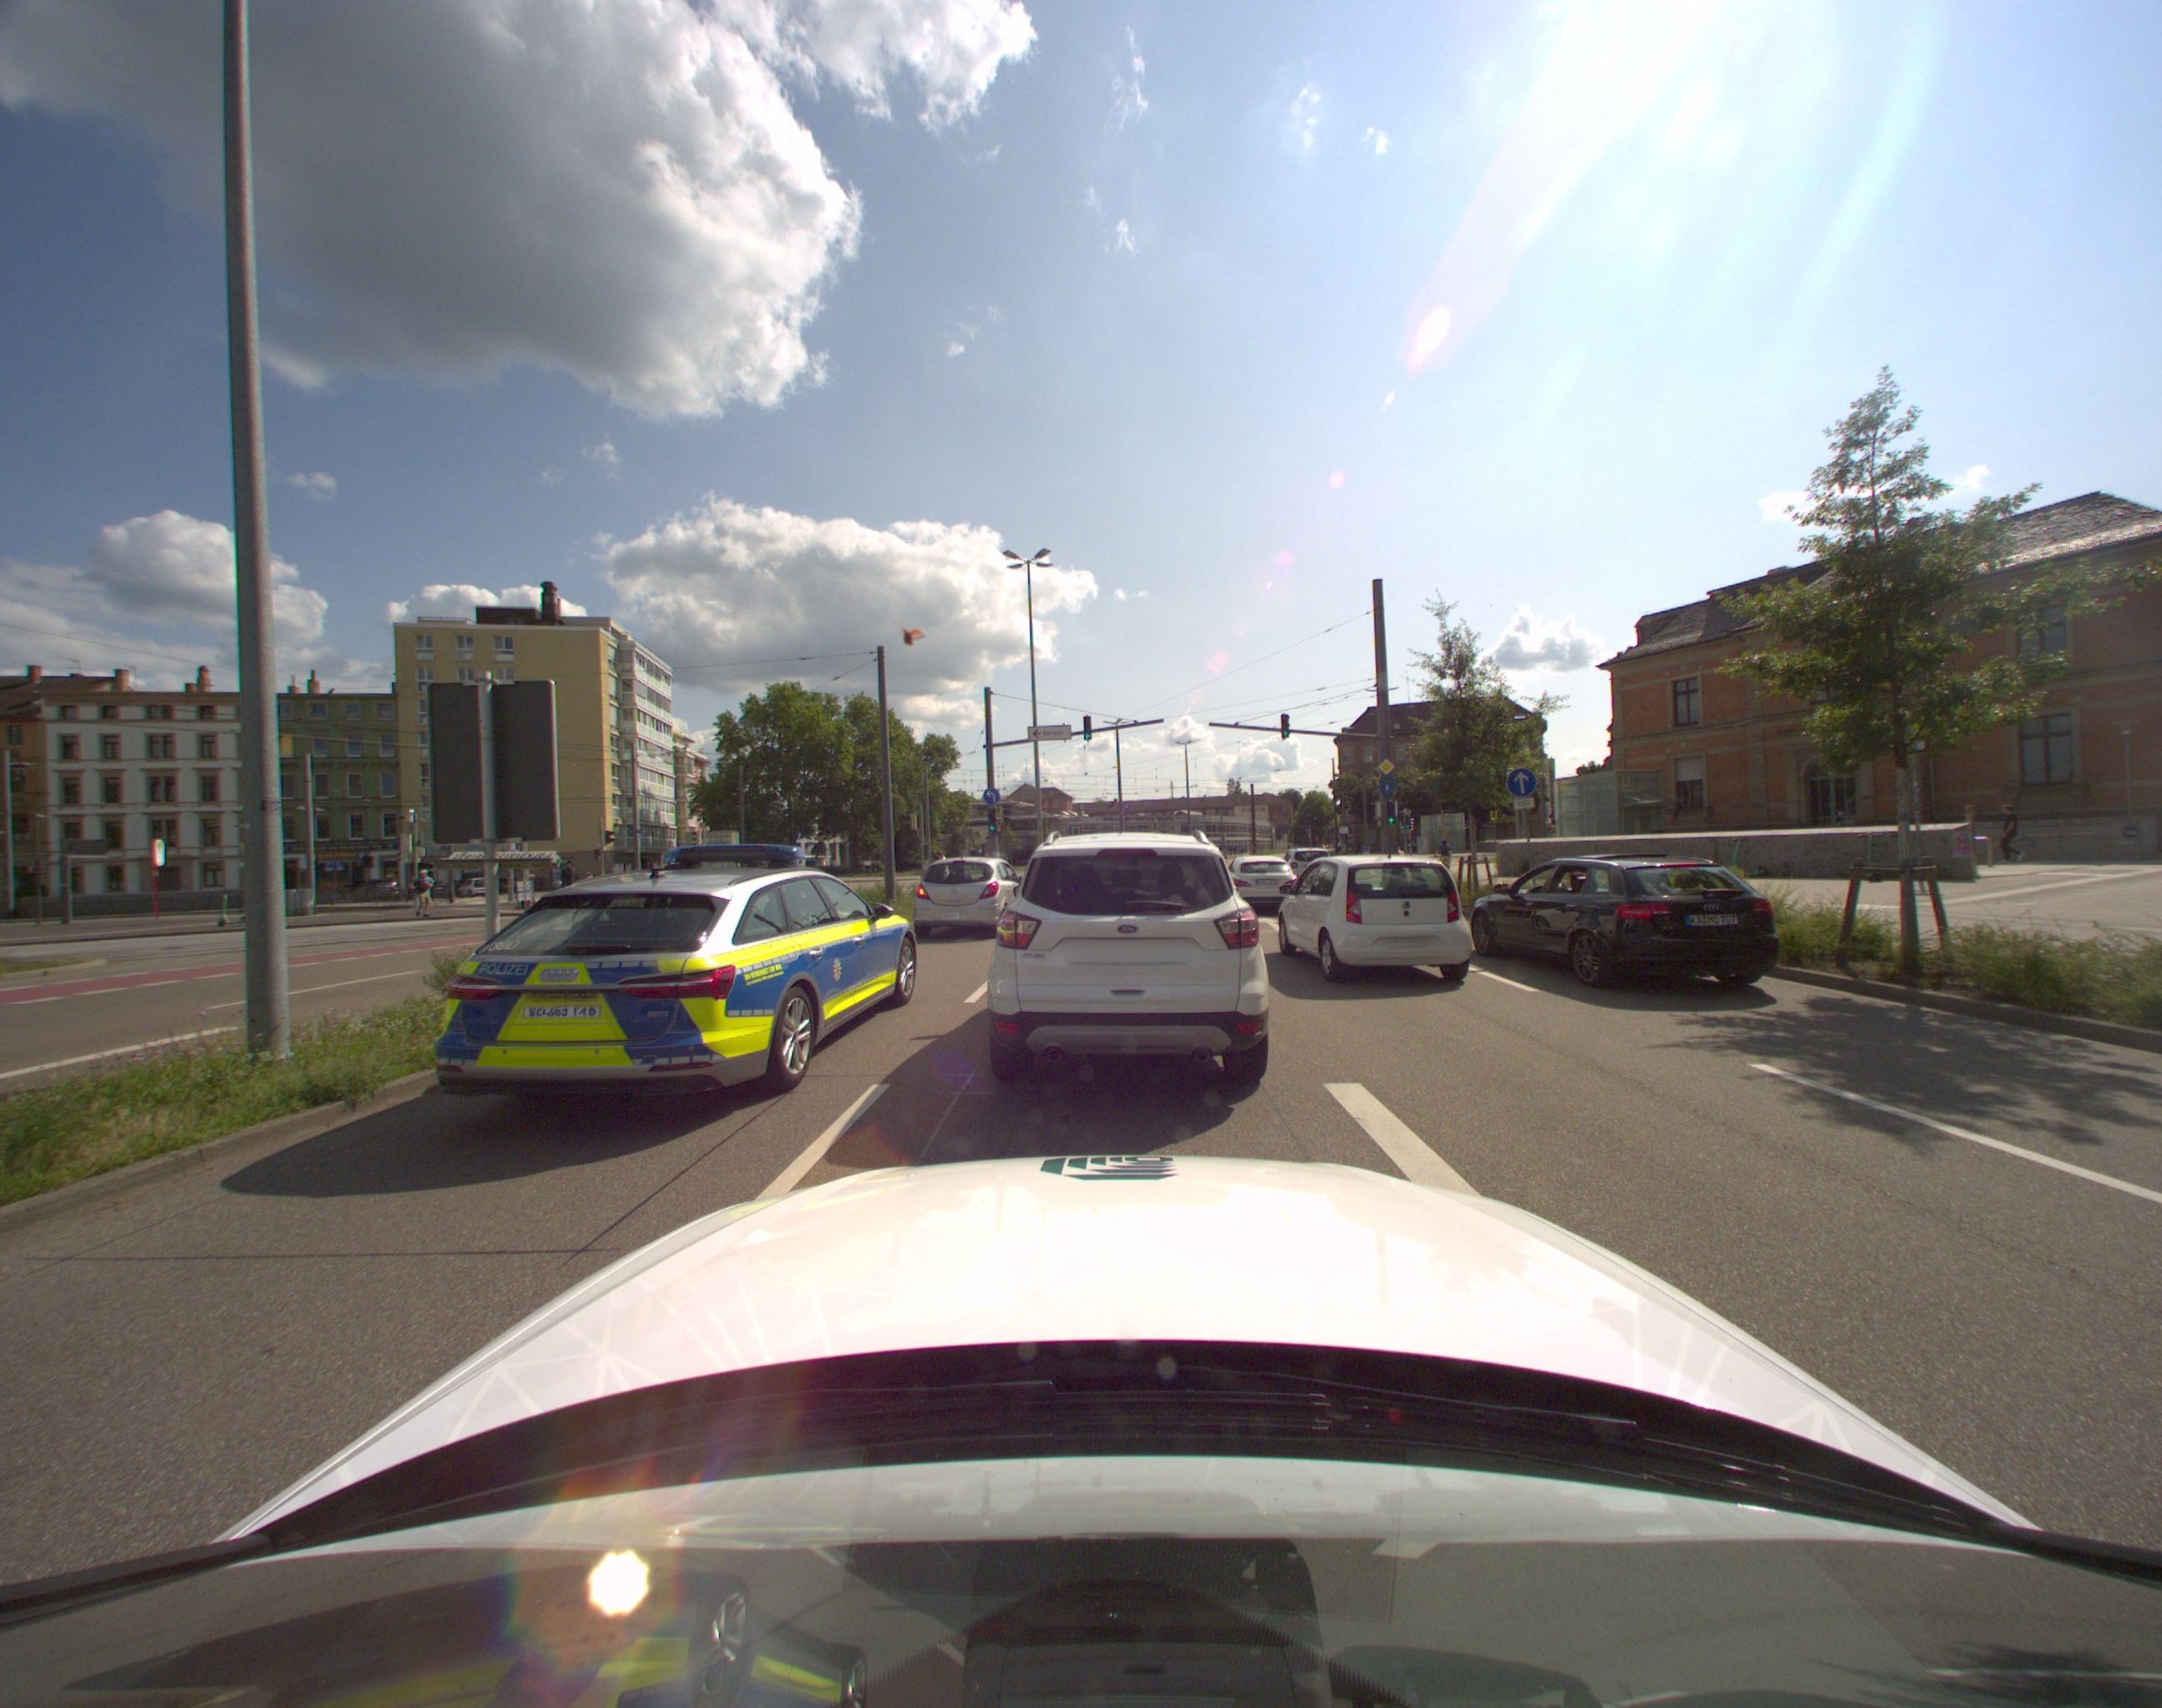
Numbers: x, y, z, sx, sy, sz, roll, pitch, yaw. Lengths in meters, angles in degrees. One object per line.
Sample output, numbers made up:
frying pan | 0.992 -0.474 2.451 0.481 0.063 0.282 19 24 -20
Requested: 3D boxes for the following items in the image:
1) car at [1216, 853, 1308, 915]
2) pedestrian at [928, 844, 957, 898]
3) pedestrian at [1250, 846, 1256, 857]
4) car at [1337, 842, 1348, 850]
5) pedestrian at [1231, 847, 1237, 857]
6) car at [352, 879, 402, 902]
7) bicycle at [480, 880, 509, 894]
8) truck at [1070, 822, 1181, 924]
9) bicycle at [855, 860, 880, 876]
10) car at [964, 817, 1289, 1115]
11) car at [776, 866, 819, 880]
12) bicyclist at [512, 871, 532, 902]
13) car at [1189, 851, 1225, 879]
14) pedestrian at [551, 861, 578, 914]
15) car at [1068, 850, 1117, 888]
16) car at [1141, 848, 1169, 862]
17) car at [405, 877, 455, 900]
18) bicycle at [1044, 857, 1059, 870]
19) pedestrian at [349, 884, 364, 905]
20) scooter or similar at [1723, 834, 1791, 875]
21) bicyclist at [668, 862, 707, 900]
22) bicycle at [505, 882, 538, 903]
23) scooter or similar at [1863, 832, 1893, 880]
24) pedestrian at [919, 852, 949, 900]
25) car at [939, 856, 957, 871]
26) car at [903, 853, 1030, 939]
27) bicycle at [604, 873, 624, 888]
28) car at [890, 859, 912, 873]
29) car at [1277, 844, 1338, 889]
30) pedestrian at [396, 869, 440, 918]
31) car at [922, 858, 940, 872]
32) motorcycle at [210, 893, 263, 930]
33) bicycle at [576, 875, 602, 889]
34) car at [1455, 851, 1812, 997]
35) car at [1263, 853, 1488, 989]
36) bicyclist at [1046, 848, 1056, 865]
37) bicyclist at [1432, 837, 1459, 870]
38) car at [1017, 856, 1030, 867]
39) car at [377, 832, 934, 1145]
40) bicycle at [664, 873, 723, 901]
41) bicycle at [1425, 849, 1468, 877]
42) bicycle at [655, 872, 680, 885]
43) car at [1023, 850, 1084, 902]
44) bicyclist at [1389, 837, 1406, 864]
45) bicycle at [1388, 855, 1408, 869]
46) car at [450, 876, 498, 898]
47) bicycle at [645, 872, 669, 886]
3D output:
car | 4.569 0.712 21.059 1.841 1.419 3.684 -1 0 5
pedestrian | -5.096 0.619 29.933 0.844 1.917 0.693 -3 -1 1
pedestrian | 31.690 -0.494 149.922 0.866 1.922 0.882 -1 -1 35
car | 53.896 -1.683 167.938 1.820 1.652 4.021 -2 -1 22
pedestrian | 26.987 -0.389 143.700 0.866 1.737 0.882 -1 -1 37
car | -51.476 2.680 59.536 3.849 1.496 1.912 -3 -2 35
bicycle | -49.383 2.750 68.622 1.808 1.104 0.792 -2 0 -18
truck | 1.169 0.412 20.199 2.328 2.155 5.859 -1 0 4
bicycle | -19.798 1.334 75.556 2.171 1.414 0.808 -1 0 -14
car | 0.432 0.645 6.598 1.818 1.664 3.961 -1 0 5
car | -30.444 2.021 87.473 3.975 1.327 1.632 -3 -1 -1
bicyclist | -32.443 1.881 47.249 0.779 1.797 0.706 0 -1 -17
car | 6.964 0.599 44.865 1.839 1.419 3.688 -1 0 9
pedestrian | -19.093 1.232 30.123 0.770 1.903 0.819 0 -1 -30
car | 0.494 0.635 36.766 2.033 1.578 4.538 -1 0 0
car | 8.534 0.086 93.657 1.882 1.461 3.991 -3 0 24
car | -48.055 2.544 60.091 3.849 1.496 1.912 -3 -2 35
bicycle | -2.929 0.979 80.685 0.753 1.192 2.160 -3 0 16
pedestrian | -54.511 3.071 61.257 0.548 1.534 0.704 -4 -1 39
scooter or similar | 19.392 0.020 23.380 0.466 1.118 1.438 -3 0 -18
bicyclist | -18.851 1.287 39.049 1.293 1.731 0.994 -3 -1 -1
bicycle | -32.413 2.199 47.206 0.889 1.138 2.344 0 -1 -17
scooter or similar | 19.692 0.040 20.126 1.326 1.104 0.460 -4 0 -44
pedestrian | -5.261 0.788 29.186 0.844 1.648 0.693 -3 -1 1
car | -20.296 1.472 124.314 1.989 2.014 4.227 -4 -1 -2
car | -2.164 0.755 16.468 1.841 1.474 4.002 -2 0 2
bicycle | -41.320 2.318 72.072 0.792 1.258 1.808 -2 0 -2
car | -27.564 1.823 124.978 1.960 1.937 5.070 -4 -1 1
car | 8.904 0.475 32.307 1.826 1.652 4.009 -1 -1 8
pedestrian | -24.642 1.460 30.290 0.761 1.797 1.030 0 -1 5
car | -22.930 1.662 124.631 1.963 1.937 4.227 -4 -1 -2
motorcycle | -30.653 2.080 29.576 1.436 1.236 0.484 -3 -1 3
bicycle | -42.398 2.408 70.203 1.808 1.104 0.792 -2 0 -18
car | 6.337 0.707 10.017 1.692 1.372 4.135 -2 -1 2
car | 3.687 0.736 10.951 1.643 1.422 4.002 -2 0 2
bicyclist | -2.958 0.236 80.758 0.753 1.683 0.764 -3 0 16
bicyclist | 13.898 -0.021 31.057 0.631 1.220 0.925 -4 0 7
car | -8.629 1.107 122.385 1.814 1.534 3.913 -4 -1 -2
car | -2.646 0.700 6.557 1.873 1.568 4.617 -2 0 2
bicycle | -18.549 1.567 39.057 2.286 1.188 0.994 -3 -1 -1
bicycle | 13.942 0.326 31.123 0.843 0.970 1.964 -5 0 6
bicycle | -38.047 2.253 74.987 1.948 1.147 0.792 -2 0 -17
car | -0.830 0.693 27.388 1.756 1.568 4.527 -2 0 1
bicyclist | 17.712 -0.183 45.582 0.605 1.451 0.775 -2 0 4
bicycle | 17.713 0.436 45.516 0.582 0.775 1.623 -2 0 4
car | -45.968 2.491 61.655 3.849 1.496 1.912 -3 -2 36
bicycle | -38.359 2.230 73.690 1.808 1.147 0.792 -2 0 -17
